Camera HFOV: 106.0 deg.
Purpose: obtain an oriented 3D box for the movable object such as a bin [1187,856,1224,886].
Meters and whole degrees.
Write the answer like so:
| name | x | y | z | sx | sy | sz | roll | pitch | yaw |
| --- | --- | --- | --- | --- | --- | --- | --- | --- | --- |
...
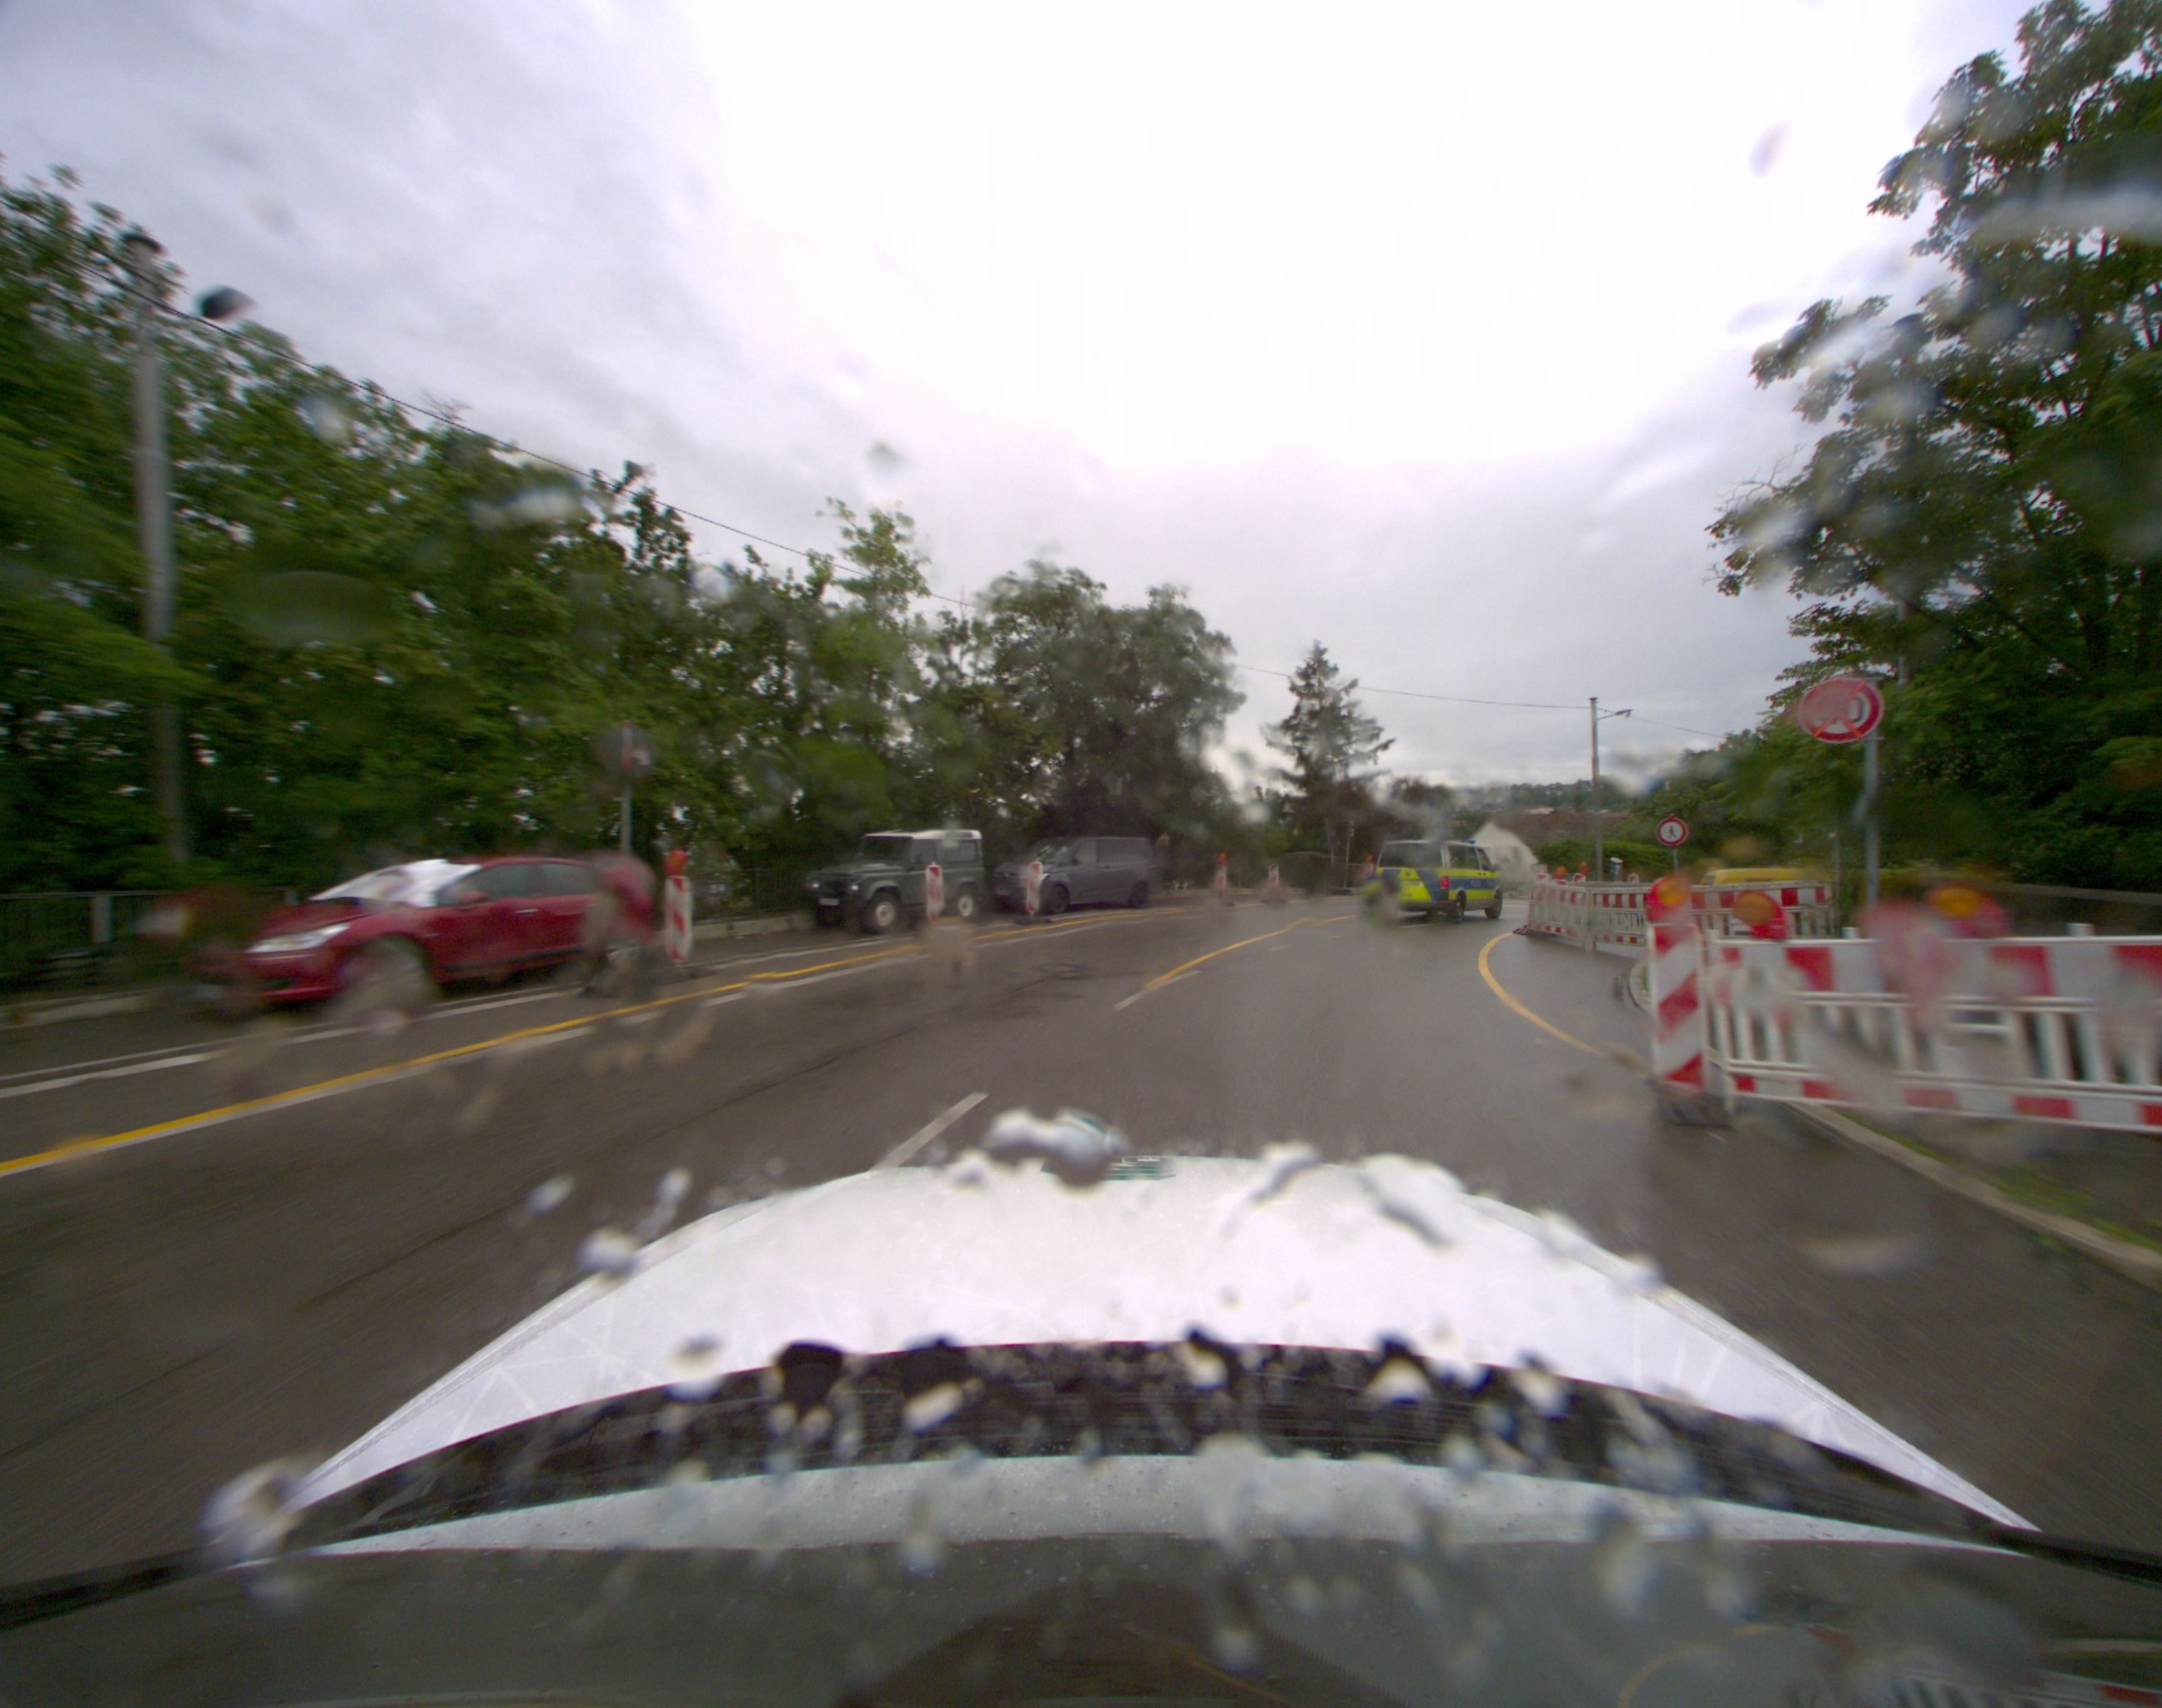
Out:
| name | x | y | z | sx | sy | sz | roll | pitch | yaw |
| --- | --- | --- | --- | --- | --- | --- | --- | --- | --- |
| movable object such as a bin | 4.726 | 0.643 | 30.929 | 1.030 | 1.106 | 0.980 | 1 | -1 | -28 |

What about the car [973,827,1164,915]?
| name | x | y | z | sx | sy | sz | roll | pitch | yaw |
| --- | --- | --- | --- | --- | --- | --- | --- | --- | --- |
| car | -0.195 | 0.396 | 21.229 | 1.975 | 2.013 | 4.977 | 2 | 1 | 45 |

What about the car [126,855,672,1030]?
| name | x | y | z | sx | sy | sz | roll | pitch | yaw |
| --- | --- | --- | --- | --- | --- | --- | --- | --- | --- |
| car | -7.127 | 0.748 | 9.212 | 1.944 | 1.440 | 4.343 | 0 | 0 | 19 |

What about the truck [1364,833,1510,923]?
| name | x | y | z | sx | sy | sz | roll | pitch | yaw |
| --- | --- | --- | --- | --- | --- | --- | --- | --- | --- |
| truck | 9.159 | 0.539 | 20.739 | 1.974 | 2.014 | 4.763 | -2 | -1 | 42 |

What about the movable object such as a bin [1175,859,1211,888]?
| name | x | y | z | sx | sy | sz | roll | pitch | yaw |
| --- | --- | --- | --- | --- | --- | --- | --- | --- | --- |
| movable object such as a bin | 4.400 | 0.768 | 31.937 | 1.030 | 1.106 | 0.980 | 0 | 0 | -28 |

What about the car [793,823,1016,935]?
| name | x | y | z | sx | sy | sz | roll | pitch | yaw |
| --- | --- | --- | --- | --- | --- | --- | --- | --- | --- |
| car | -3.496 | 0.409 | 17.196 | 1.848 | 2.013 | 4.843 | 1 | 1 | 29 |
